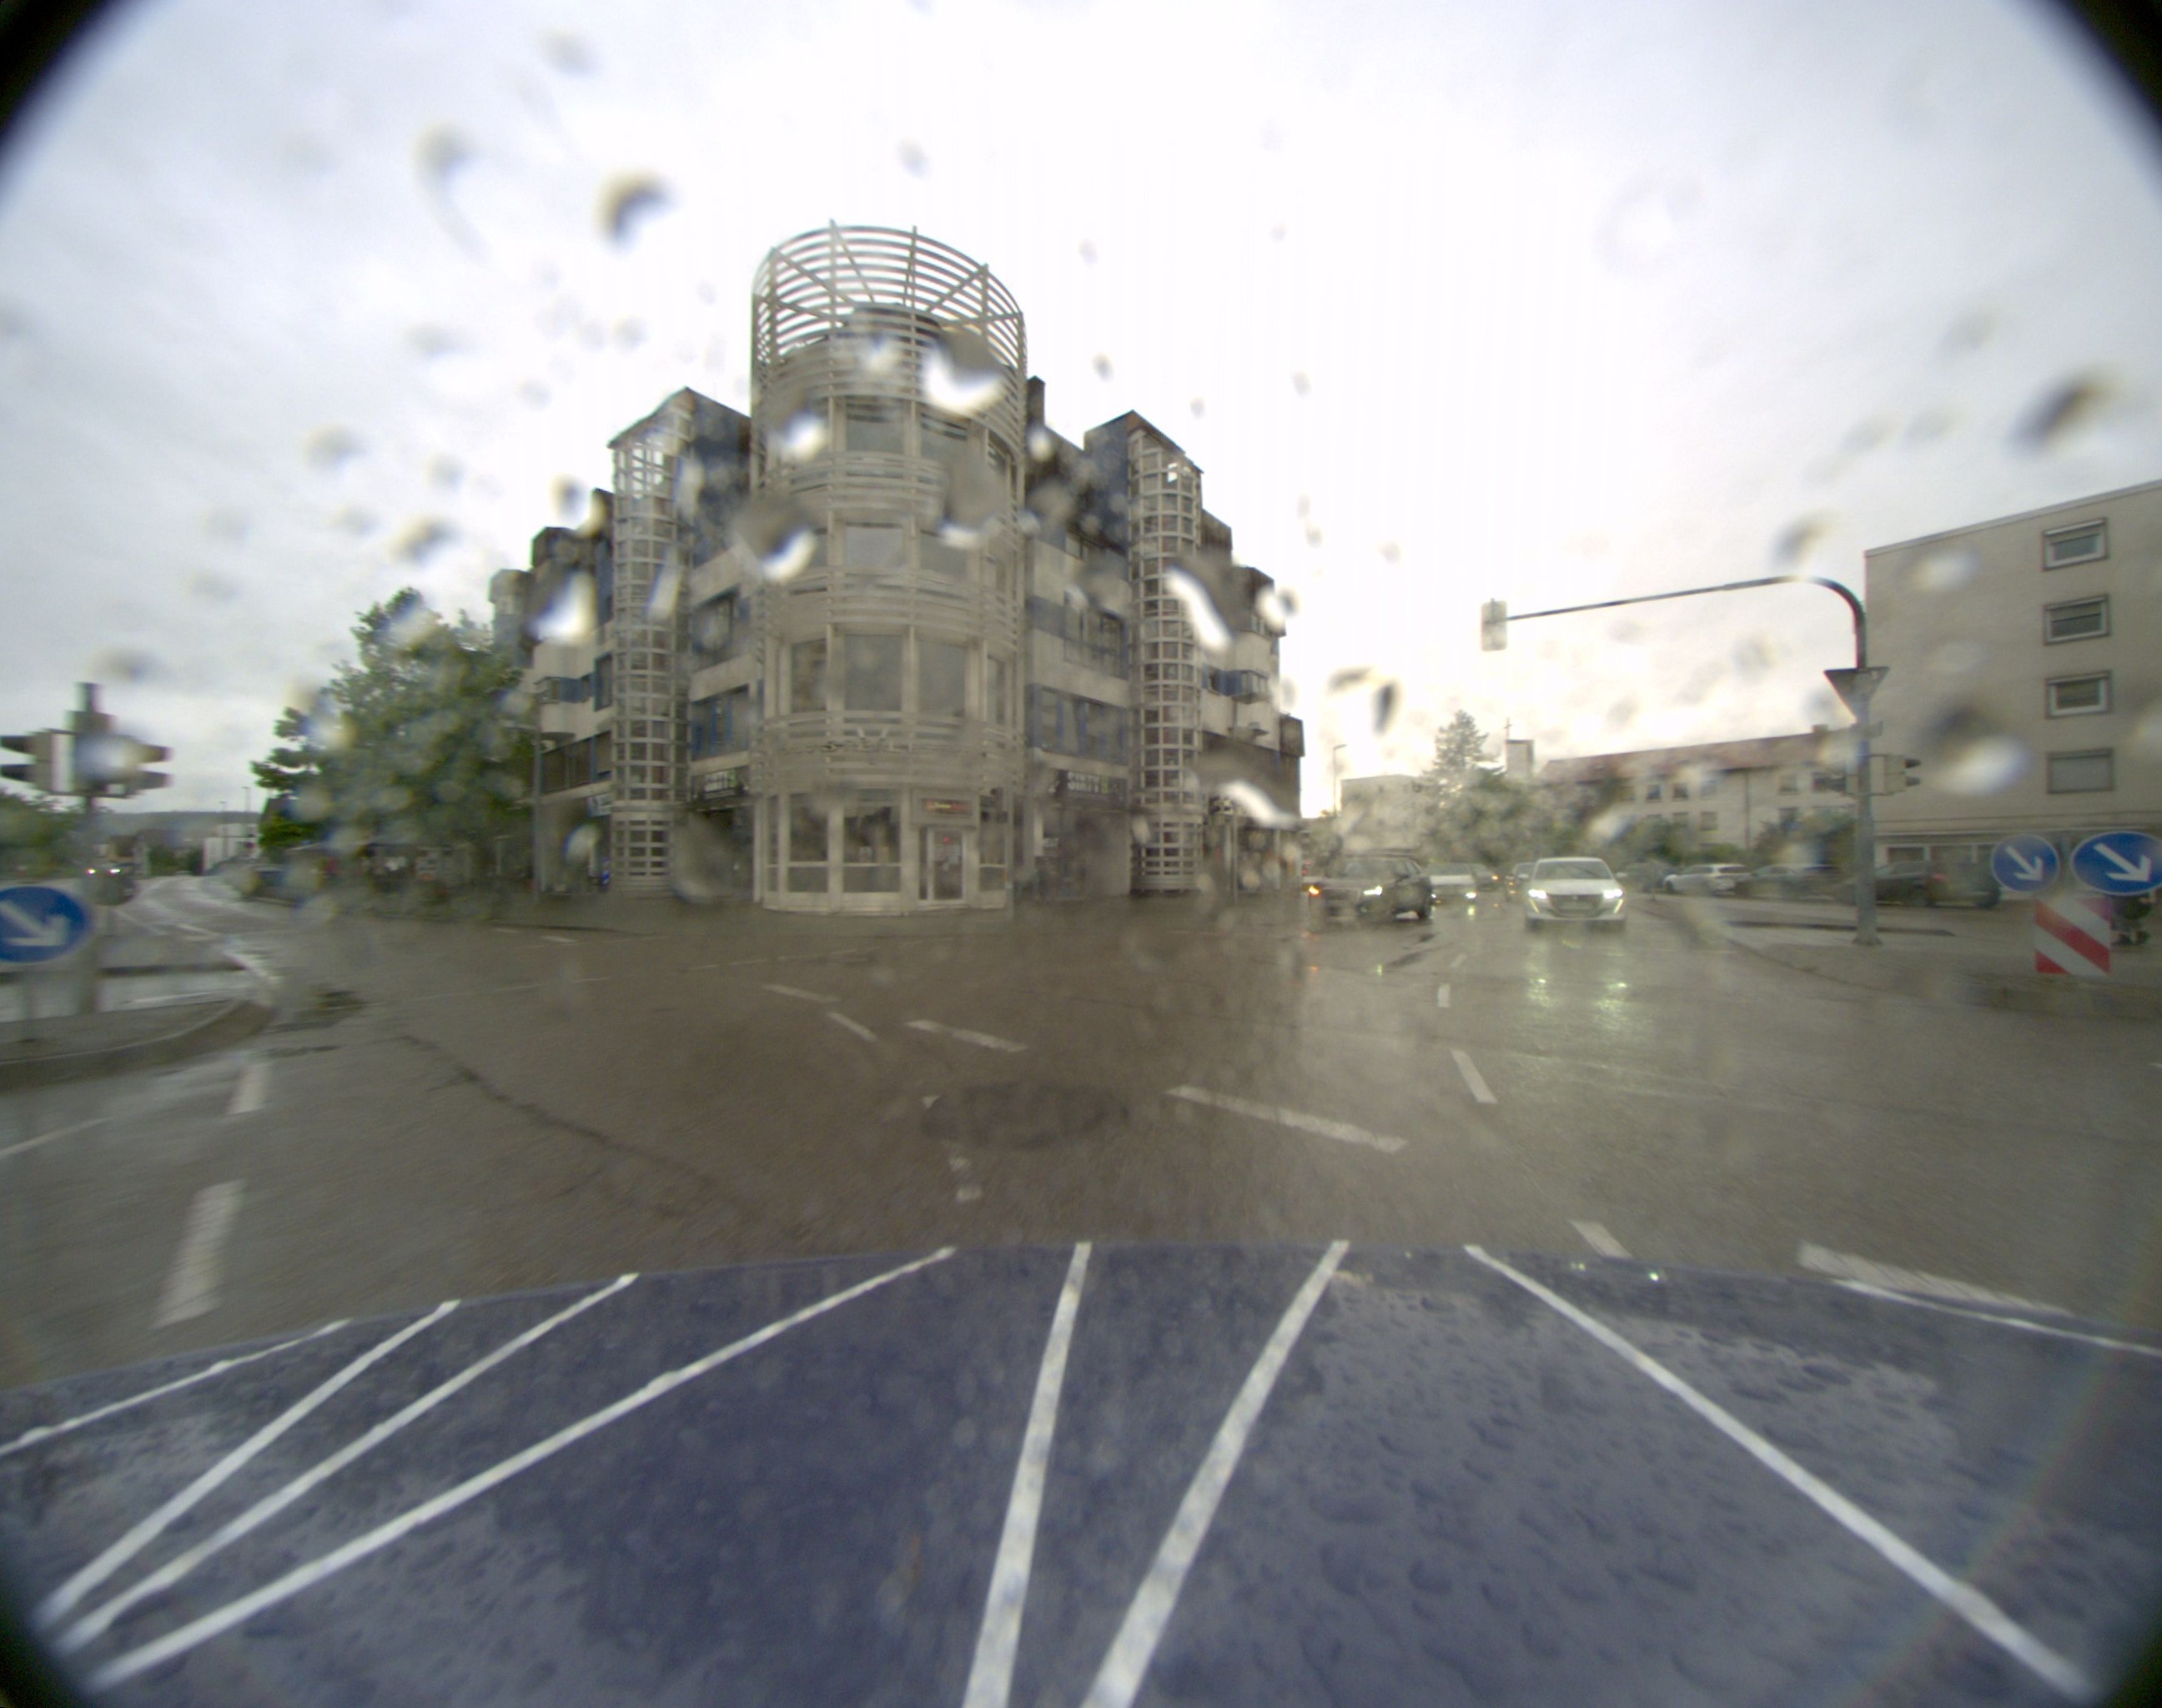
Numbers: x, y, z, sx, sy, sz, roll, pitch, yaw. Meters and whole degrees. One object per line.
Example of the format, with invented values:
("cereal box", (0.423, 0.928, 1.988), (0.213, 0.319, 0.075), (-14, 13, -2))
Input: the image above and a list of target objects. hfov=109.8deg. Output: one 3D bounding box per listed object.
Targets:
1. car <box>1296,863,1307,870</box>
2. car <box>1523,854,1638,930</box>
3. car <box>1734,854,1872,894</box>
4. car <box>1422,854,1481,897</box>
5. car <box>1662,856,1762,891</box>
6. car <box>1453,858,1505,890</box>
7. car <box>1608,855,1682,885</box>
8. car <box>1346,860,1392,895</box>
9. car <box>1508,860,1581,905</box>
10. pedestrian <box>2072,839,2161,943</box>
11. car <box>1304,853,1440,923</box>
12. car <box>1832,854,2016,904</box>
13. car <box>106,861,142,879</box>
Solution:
("car", (46.501, 2.686, 160.251), (1.869, 1.428, 3.744), (0, 0, 11))
("car", (10.425, 0.754, 16.095), (1.740, 1.401, 3.904), (-3, -2, 30))
("car", (28.238, 0.760, 29.931), (1.835, 1.425, 4.278), (-2, 0, 10))
("car", (14.227, 0.798, 29.054), (1.730, 1.519, 4.072), (-1, -1, 30))
("car", (29.079, 0.864, 35.178), (1.635, 1.491, 4.350), (0, 0, 10))
("car", (21.594, 1.046, 41.341), (1.996, 1.605, 4.006), (-2, -1, 21))
("car", (30.013, 0.830, 40.532), (1.632, 1.496, 3.884), (0, 0, 11))
("car", (12.381, 0.967, 32.838), (1.652, 1.364, 3.737), (2, 0, 19))
("car", (16.442, 0.959, 27.116), (1.747, 1.446, 3.820), (0, 0, 24))
("pedestrian", (16.611, 0.566, 12.033), (0.657, 1.576, 0.914), (0, 0, 5))
("car", (7.003, 0.723, 18.050), (1.730, 1.435, 4.055), (-1, 0, 40))
("car", (27.186, 0.751, 24.749), (1.834, 1.451, 4.192), (-2, 0, 10))
("car", (-100.828, 1.732, 80.088), (3.989, 1.765, 2.004), (-3, -1, 43))
